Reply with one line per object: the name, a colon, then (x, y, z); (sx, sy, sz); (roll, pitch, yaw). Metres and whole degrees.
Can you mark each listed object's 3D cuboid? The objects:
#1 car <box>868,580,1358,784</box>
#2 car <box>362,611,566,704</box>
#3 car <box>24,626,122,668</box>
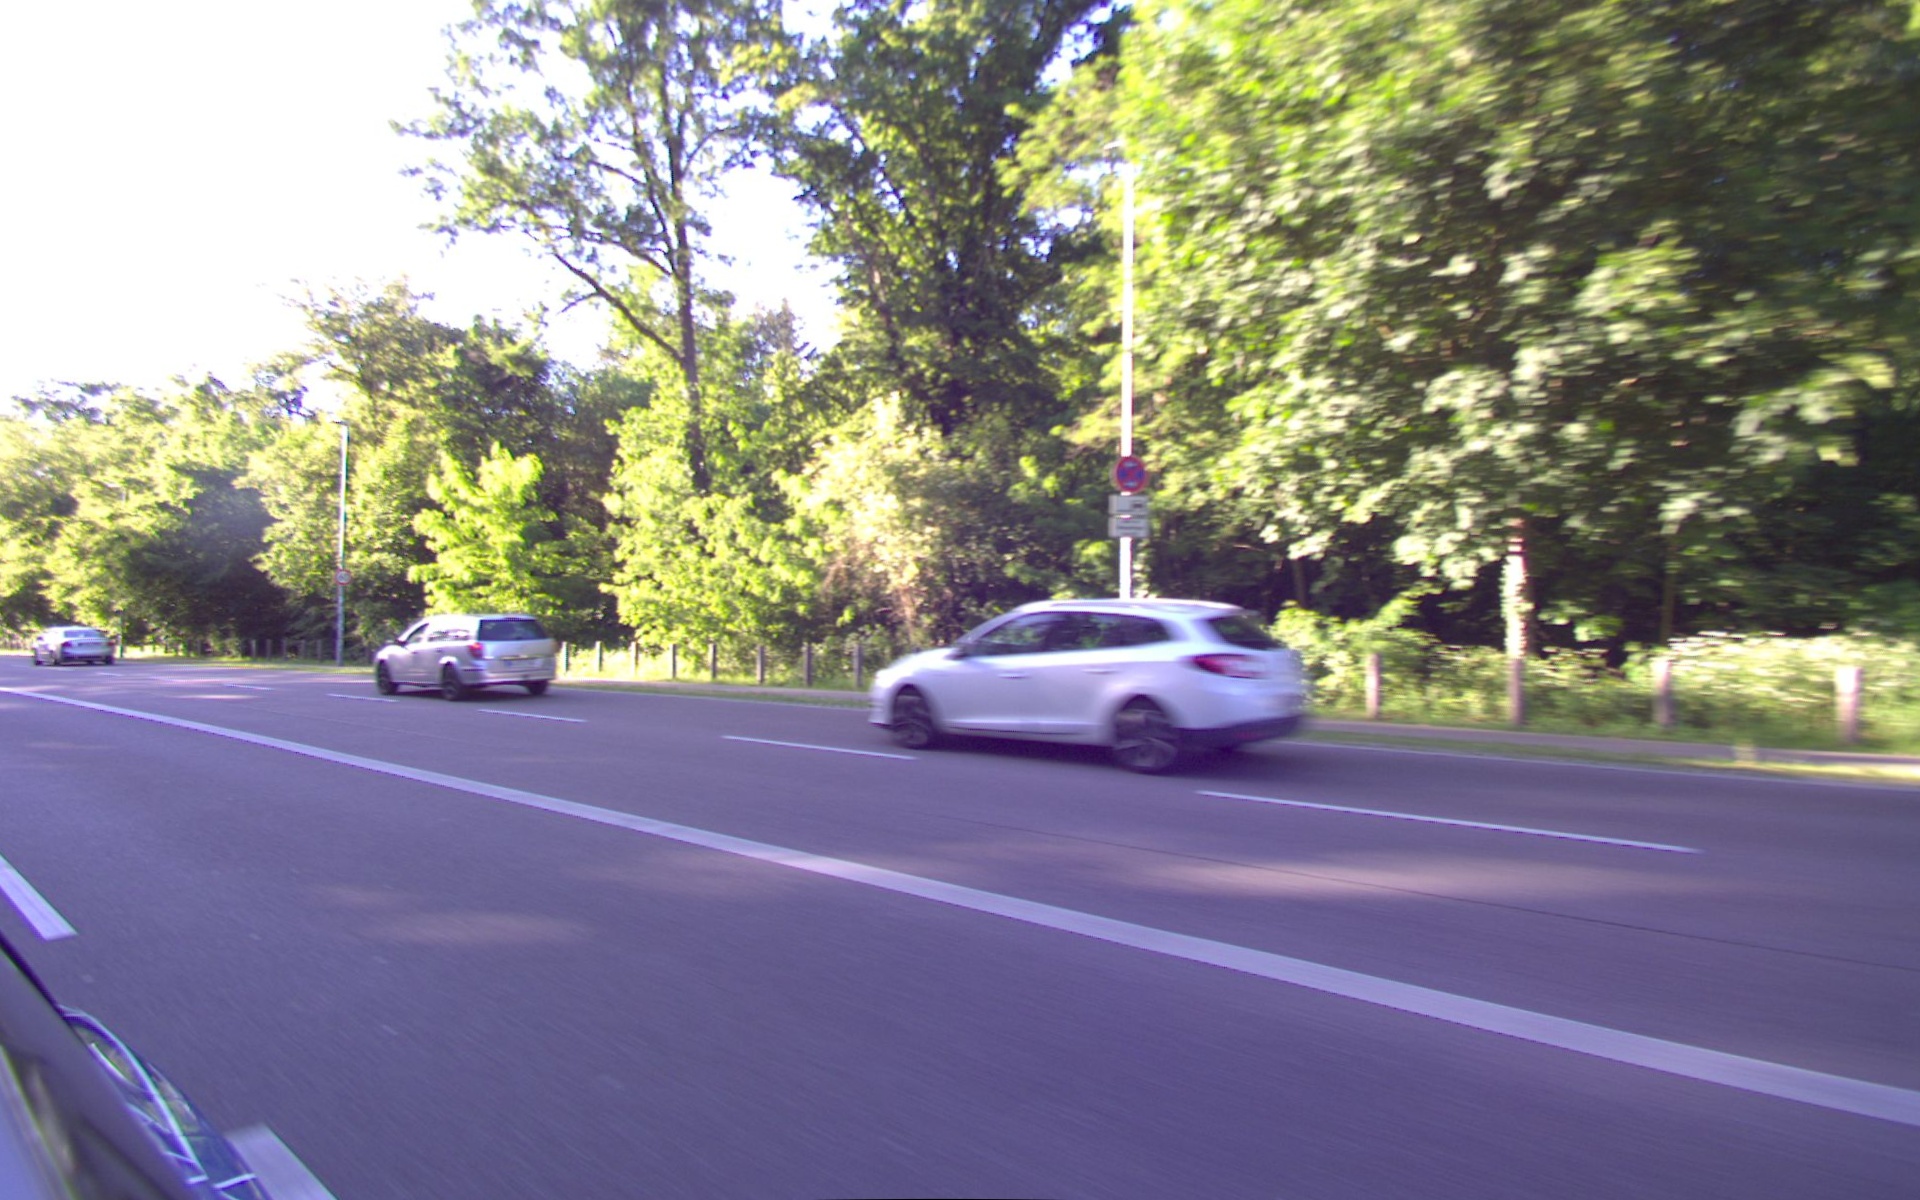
car: (1.279, 0.688, 9.727); (4.395, 1.534, 1.764); (-2, -2, 41)
car: (-8.996, 0.972, 18.218); (4.271, 1.475, 1.761); (-2, -1, 41)
car: (-32.156, 1.709, 36.678); (4.156, 1.419, 1.764); (-3, -2, 35)
